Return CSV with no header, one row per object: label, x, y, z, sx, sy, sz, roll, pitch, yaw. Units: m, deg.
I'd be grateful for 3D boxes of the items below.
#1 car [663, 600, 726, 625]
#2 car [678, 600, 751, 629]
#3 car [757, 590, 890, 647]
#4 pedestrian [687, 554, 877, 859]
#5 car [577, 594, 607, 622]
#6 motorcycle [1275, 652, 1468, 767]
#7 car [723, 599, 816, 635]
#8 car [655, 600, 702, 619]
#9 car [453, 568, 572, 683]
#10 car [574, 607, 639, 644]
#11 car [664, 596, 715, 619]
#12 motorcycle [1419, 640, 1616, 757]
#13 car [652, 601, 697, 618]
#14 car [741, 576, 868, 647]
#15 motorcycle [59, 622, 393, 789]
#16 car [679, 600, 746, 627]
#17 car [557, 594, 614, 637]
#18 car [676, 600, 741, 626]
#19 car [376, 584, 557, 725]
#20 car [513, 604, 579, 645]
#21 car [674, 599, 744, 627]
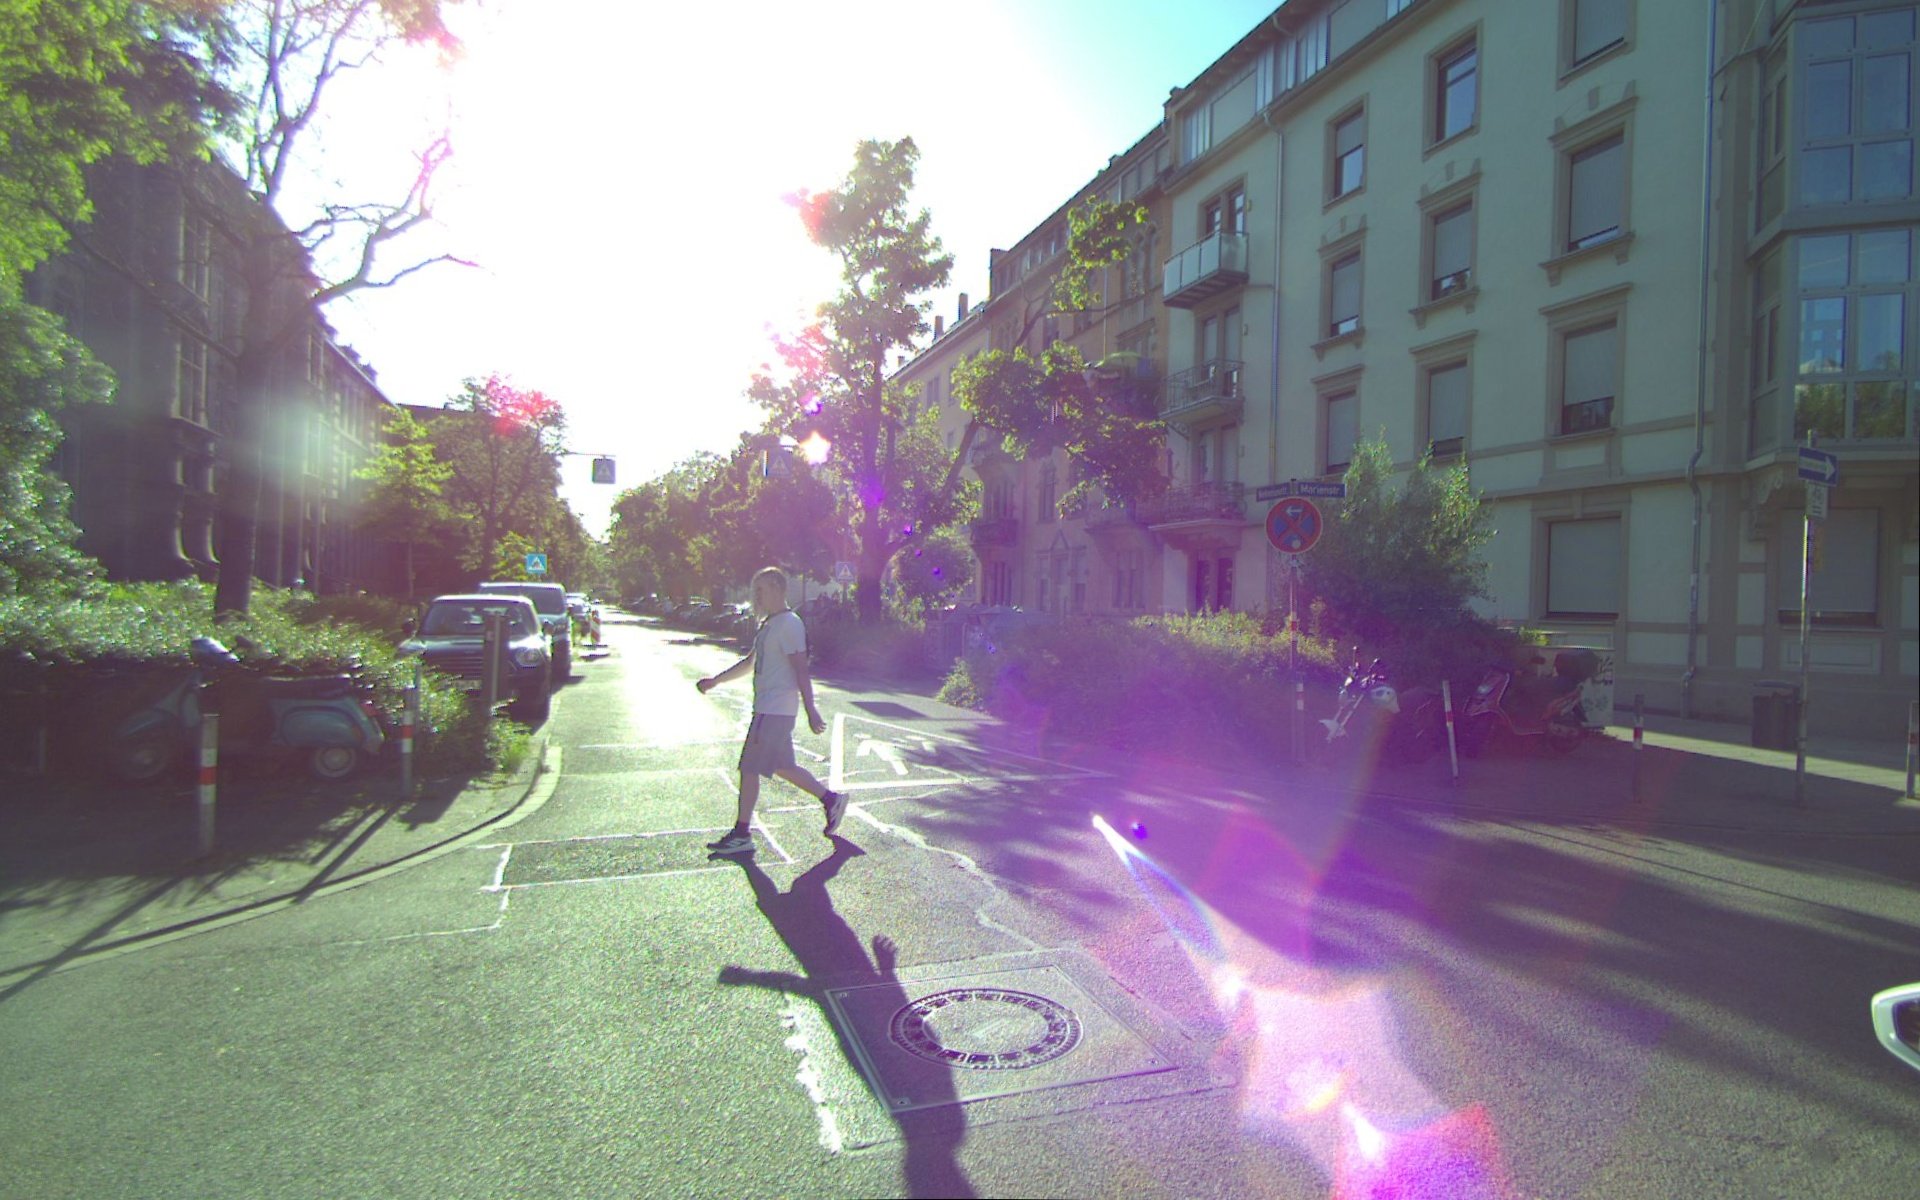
car,-20.800,1.000,78.746,4.389,1.828,1.985,2,0,-29
car,-16.498,0.954,67.596,4.389,1.828,1.985,2,0,-29
car,-5.384,0.726,39.463,4.834,2.040,1.991,2,0,-20
pedestrian,-1.150,0.631,6.394,0.992,1.769,0.801,2,0,-23
car,-28.226,0.623,77.085,1.969,2.040,3.984,2,0,-18
motorcycle,4.340,1.154,10.611,1.839,1.104,0.639,3,0,-15
car,-10.710,0.948,56.362,4.834,1.848,1.991,2,0,-20
car,-29.379,1.019,104.918,4.389,1.828,1.985,2,0,-29
car,-8.933,0.451,20.393,1.970,2.040,4.626,0,0,-21
car,-12.561,0.889,35.870,1.968,1.192,3.772,2,-1,-17
car,-25.883,0.739,96.237,4.385,2.040,1.987,2,0,-26
motorcycle,6.382,1.121,11.521,2.008,1.212,0.612,3,0,-11
car,-31.725,1.055,111.647,4.389,1.828,1.985,2,0,-29
car,-6.486,0.484,41.912,4.839,2.741,2.125,2,0,-23
motorcycle,-5.298,0.749,7.386,1.867,1.116,0.542,2,0,-21
car,-17.941,0.970,72.848,4.389,1.828,1.985,2,0,-29
car,-15.988,0.643,43.105,1.968,1.701,4.422,2,-1,-17
car,-19.016,0.985,75.878,4.389,1.828,1.985,2,0,-29
car,-6.511,0.628,13.665,1.858,1.596,4.123,2,0,-22
car,-14.476,0.825,35.318,1.710,1.321,3.985,2,-1,-17
car,-17.650,0.945,70.619,4.389,1.828,1.985,2,0,-29
